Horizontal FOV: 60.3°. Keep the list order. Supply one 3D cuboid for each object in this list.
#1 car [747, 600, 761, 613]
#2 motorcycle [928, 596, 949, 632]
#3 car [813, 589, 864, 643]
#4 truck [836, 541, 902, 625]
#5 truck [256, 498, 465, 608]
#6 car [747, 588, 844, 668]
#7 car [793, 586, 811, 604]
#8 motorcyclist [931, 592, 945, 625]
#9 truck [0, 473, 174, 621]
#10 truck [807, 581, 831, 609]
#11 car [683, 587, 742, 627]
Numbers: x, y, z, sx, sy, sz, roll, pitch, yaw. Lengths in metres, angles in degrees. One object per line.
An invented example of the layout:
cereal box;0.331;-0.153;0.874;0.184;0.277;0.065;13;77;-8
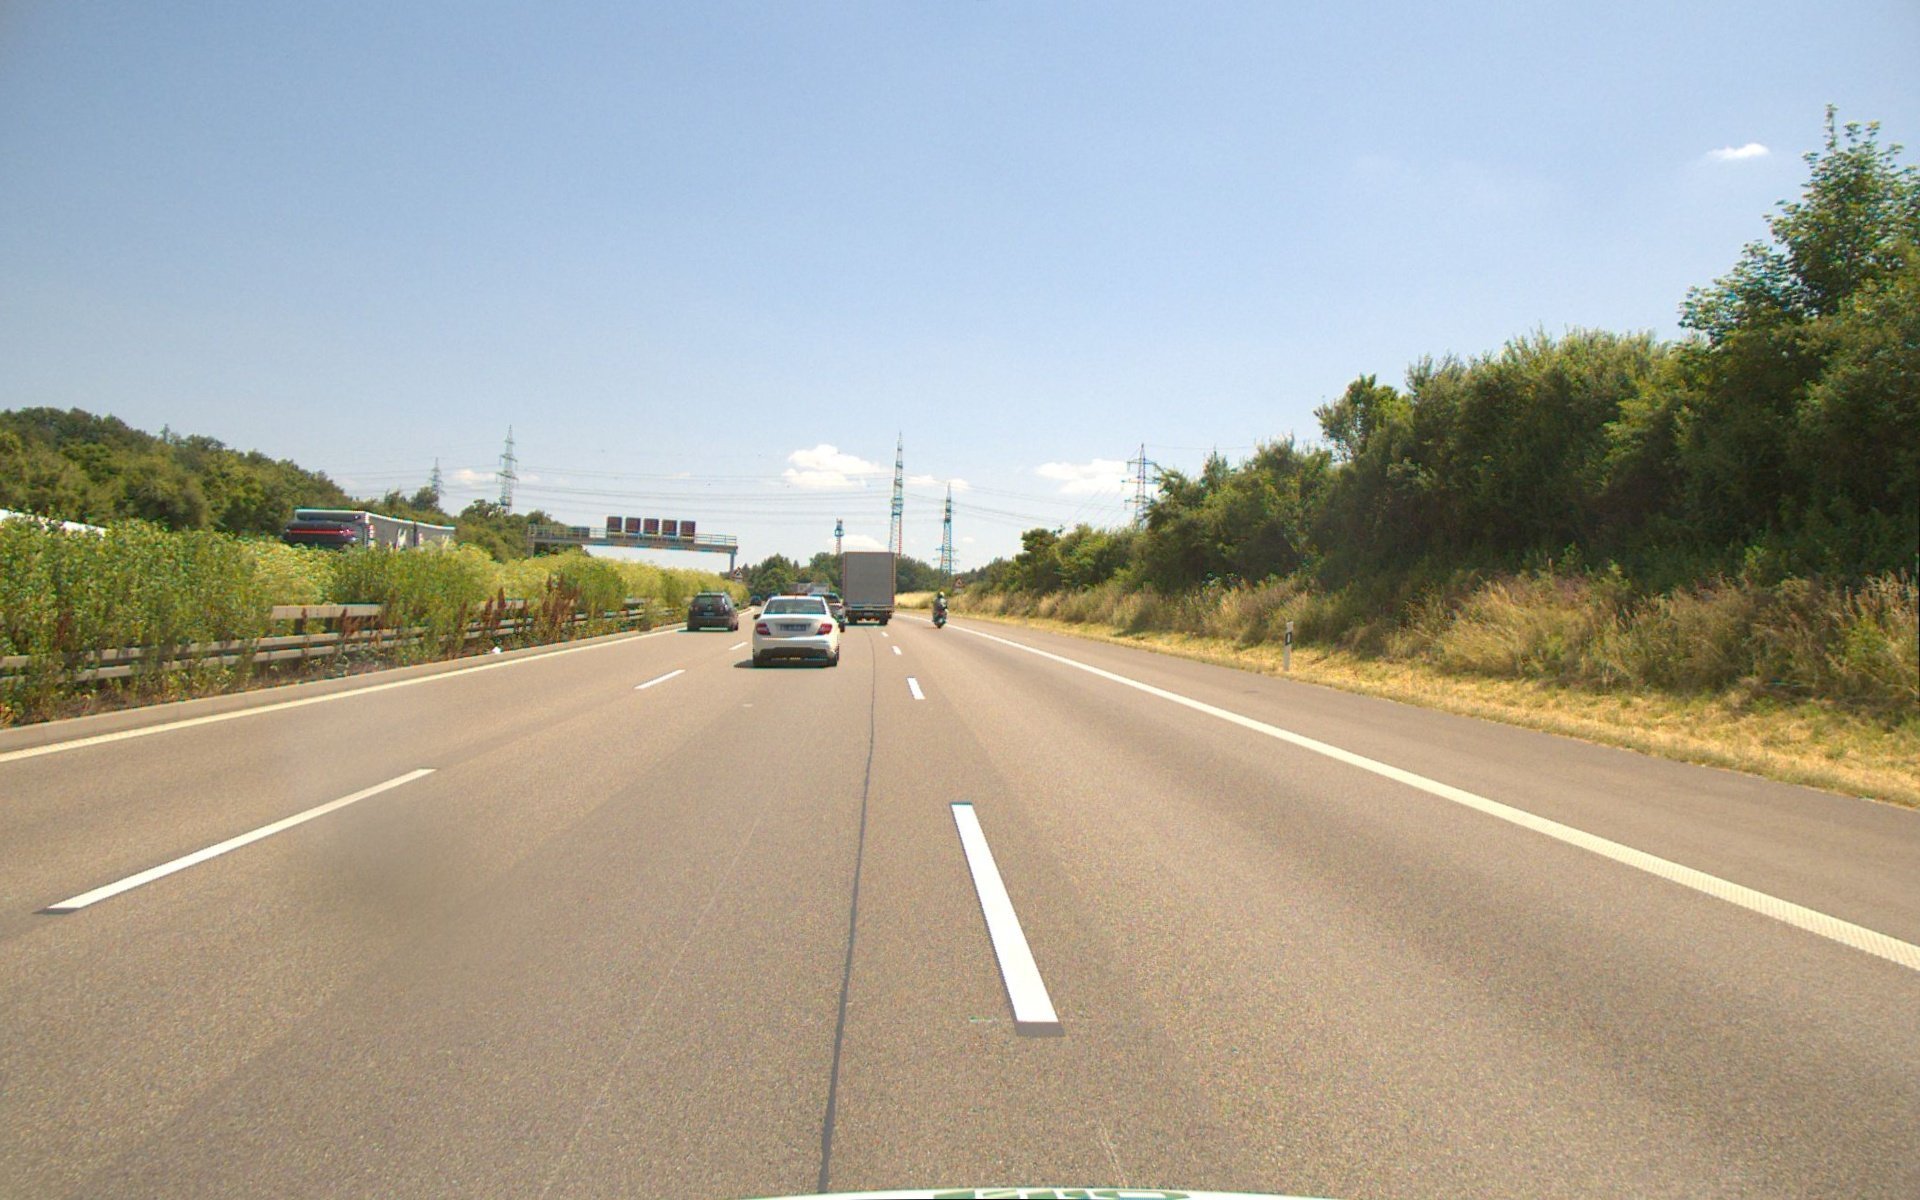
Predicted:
car;-31.243;0.975;250.722;1.955;1.892;3.995;0;0;-6
motorcycle;-1.002;0.640;77.386;0.794;1.635;1.780;1;0;-7
car;-4.850;0.605;65.577;1.955;2.049;3.995;0;0;-6
truck;-4.633;-0.797;84.186;3.157;3.993;9.054;1;0;-3
truck;-23.837;-1.754;67.369;3.167;3.674;18.511;3;0;-5
car;-3.391;0.537;34.724;1.783;1.567;3.913;0;0;-2
car;-17.700;-0.606;185.588;1.864;1.959;3.997;0;0;-4
motorcyclist;-1.030;0.391;77.403;0.561;1.505;0.699;0;0;-7
truck;-24.138;-1.289;41.962;2.410;3.516;14.675;0;1;-4
truck;-20.595;-0.748;241.511;3.417;3.981;7.280;1;0;-6
car;-9.558;0.249;64.117;1.720;1.454;3.999;0;0;-1
